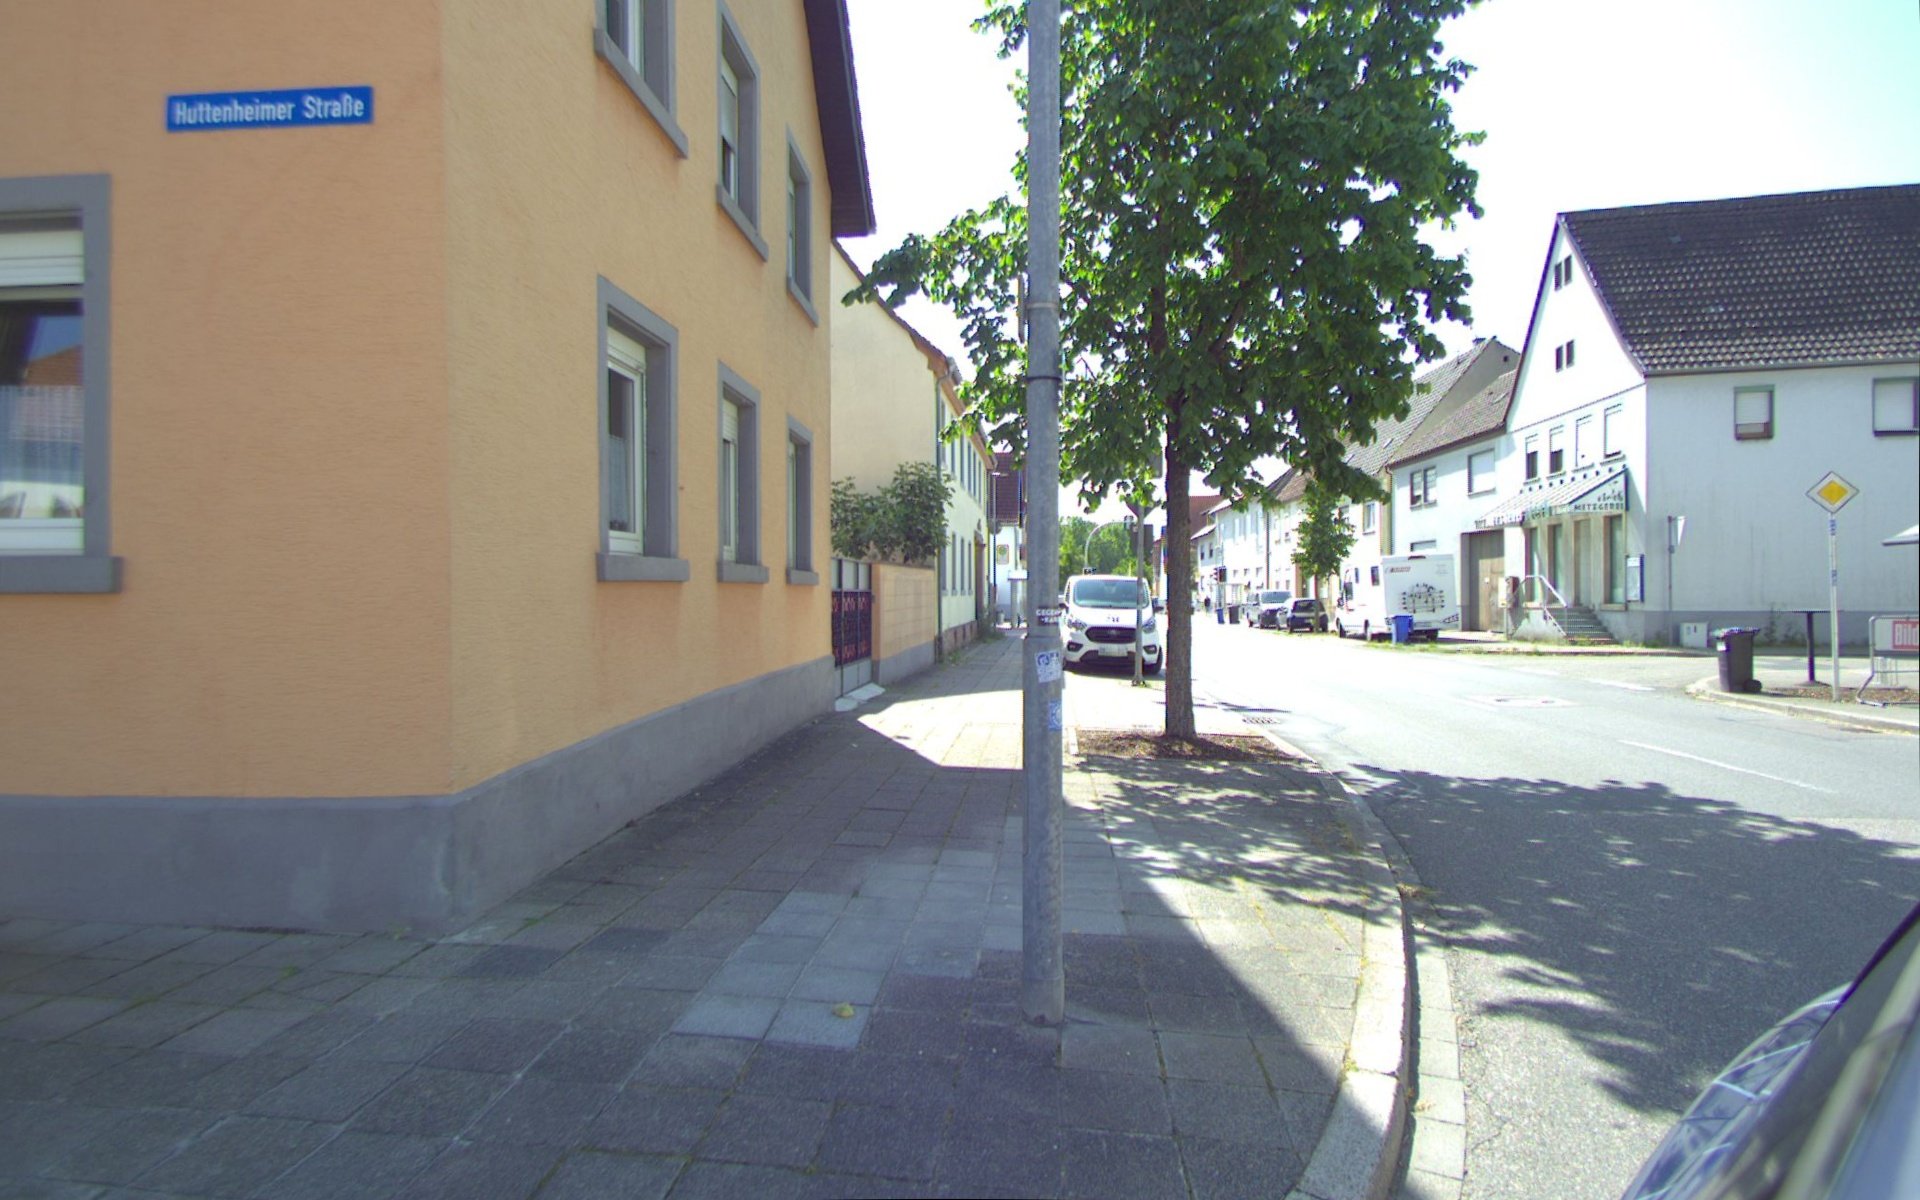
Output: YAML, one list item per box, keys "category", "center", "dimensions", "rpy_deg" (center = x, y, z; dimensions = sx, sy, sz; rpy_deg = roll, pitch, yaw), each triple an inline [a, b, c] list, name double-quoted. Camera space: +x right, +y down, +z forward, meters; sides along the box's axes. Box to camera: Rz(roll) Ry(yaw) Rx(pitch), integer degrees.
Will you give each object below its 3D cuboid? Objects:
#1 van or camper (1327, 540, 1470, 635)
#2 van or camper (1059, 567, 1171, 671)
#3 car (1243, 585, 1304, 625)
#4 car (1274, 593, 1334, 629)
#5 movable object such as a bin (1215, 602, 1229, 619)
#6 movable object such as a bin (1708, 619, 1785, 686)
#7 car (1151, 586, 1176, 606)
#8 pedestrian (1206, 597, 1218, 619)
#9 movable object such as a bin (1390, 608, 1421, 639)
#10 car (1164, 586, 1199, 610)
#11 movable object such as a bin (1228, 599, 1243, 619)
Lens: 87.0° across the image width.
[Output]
- category: "van or camper"
  center: [14.947, -0.416, 35.109]
  dimensions: [2.410, 2.941, 7.057]
  rpy_deg: [-1, 0, 5]
- category: "van or camper"
  center: [3.206, 0.329, 21.981]
  dimensions: [1.964, 1.978, 5.340]
  rpy_deg: [0, 1, 4]
- category: "car"
  center: [15.420, 0.206, 50.033]
  dimensions: [1.966, 1.871, 4.947]
  rpy_deg: [-1, 0, 7]
- category: "car"
  center: [15.058, 0.463, 44.430]
  dimensions: [1.661, 1.501, 3.613]
  rpy_deg: [-1, 0, 5]
- category: "movable object such as a bin"
  center: [15.284, 0.616, 59.053]
  dimensions: [0.706, 0.924, 0.550]
  rpy_deg: [-1, 0, 4]
- category: "movable object such as a bin"
  center: [11.438, 0.754, 14.737]
  dimensions: [0.633, 0.936, 0.613]
  rpy_deg: [-1, 0, 5]
- category: "car"
  center: [19.705, -0.389, 98.358]
  dimensions: [1.966, 1.871, 4.947]
  rpy_deg: [0, 1, 7]
- category: "pedestrian"
  center: [18.063, 0.552, 72.468]
  dimensions: [0.740, 1.551, 0.580]
  rpy_deg: [-1, 0, 4]
- category: "movable object such as a bin"
  center: [12.919, 0.674, 29.347]
  dimensions: [0.633, 0.883, 0.613]
  rpy_deg: [-1, 0, 5]
- category: "car"
  center: [17.976, -0.194, 82.312]
  dimensions: [2.317, 1.871, 4.947]
  rpy_deg: [0, 1, 7]
- category: "movable object such as a bin"
  center: [15.687, 0.509, 57.606]
  dimensions: [0.706, 1.080, 0.550]
  rpy_deg: [-1, 0, 4]
